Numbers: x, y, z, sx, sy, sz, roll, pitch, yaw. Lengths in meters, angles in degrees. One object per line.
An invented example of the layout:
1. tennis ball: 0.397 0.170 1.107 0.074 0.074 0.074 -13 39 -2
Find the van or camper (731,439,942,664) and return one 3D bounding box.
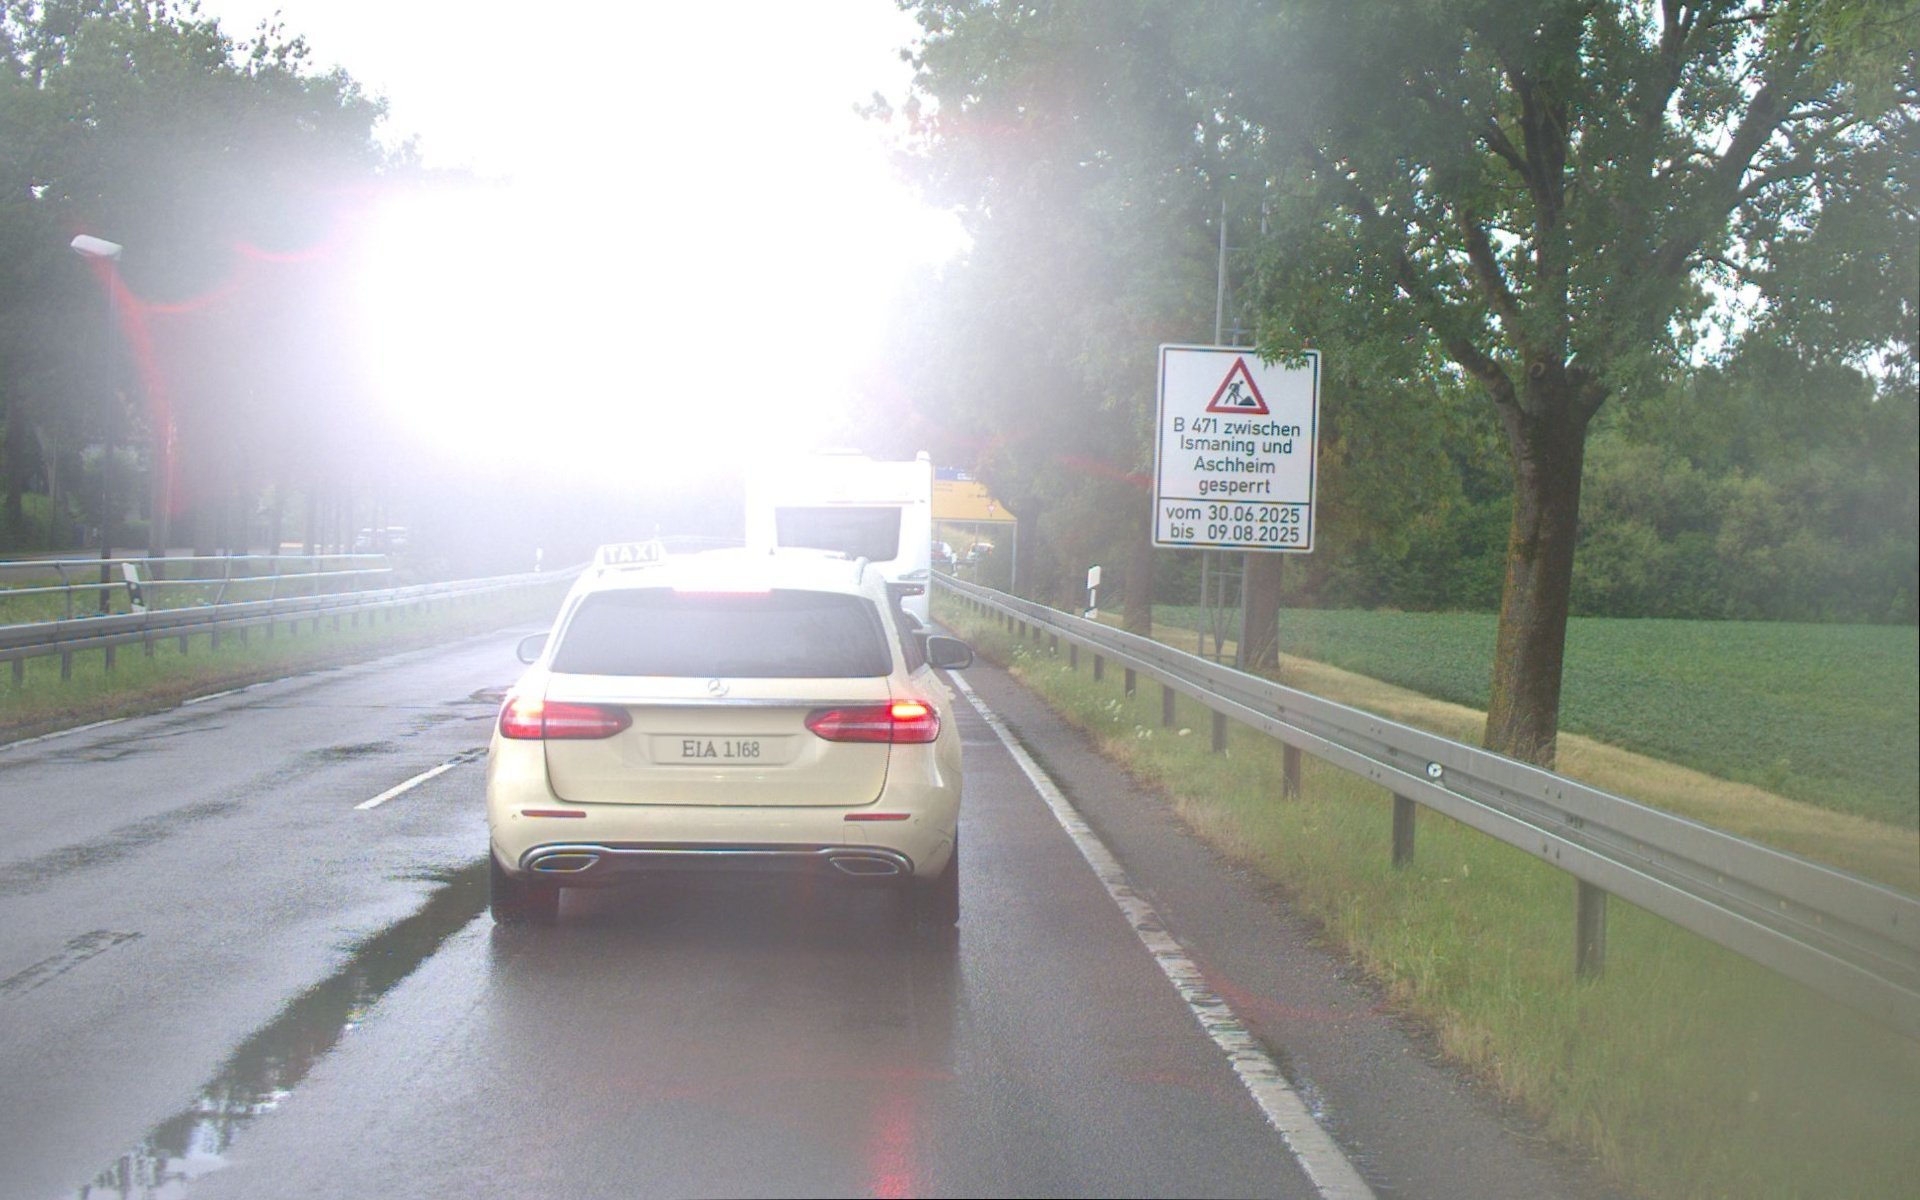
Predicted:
1. van or camper: -1.522 -0.637 44.344 2.489 2.676 5.701 1 1 -1

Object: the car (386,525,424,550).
1. car: -32.944 -3.743 204.172 1.785 1.411 4.001 2 1 -3

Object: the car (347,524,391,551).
1. car: -32.772 -3.488 190.757 1.785 1.411 4.000 2 1 -1

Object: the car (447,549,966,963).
1. car: -0.936 0.534 14.401 1.865 1.471 4.000 0 1 -1

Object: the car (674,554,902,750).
1. car: -1.308 0.359 27.491 1.664 1.426 4.000 0 1 -1
